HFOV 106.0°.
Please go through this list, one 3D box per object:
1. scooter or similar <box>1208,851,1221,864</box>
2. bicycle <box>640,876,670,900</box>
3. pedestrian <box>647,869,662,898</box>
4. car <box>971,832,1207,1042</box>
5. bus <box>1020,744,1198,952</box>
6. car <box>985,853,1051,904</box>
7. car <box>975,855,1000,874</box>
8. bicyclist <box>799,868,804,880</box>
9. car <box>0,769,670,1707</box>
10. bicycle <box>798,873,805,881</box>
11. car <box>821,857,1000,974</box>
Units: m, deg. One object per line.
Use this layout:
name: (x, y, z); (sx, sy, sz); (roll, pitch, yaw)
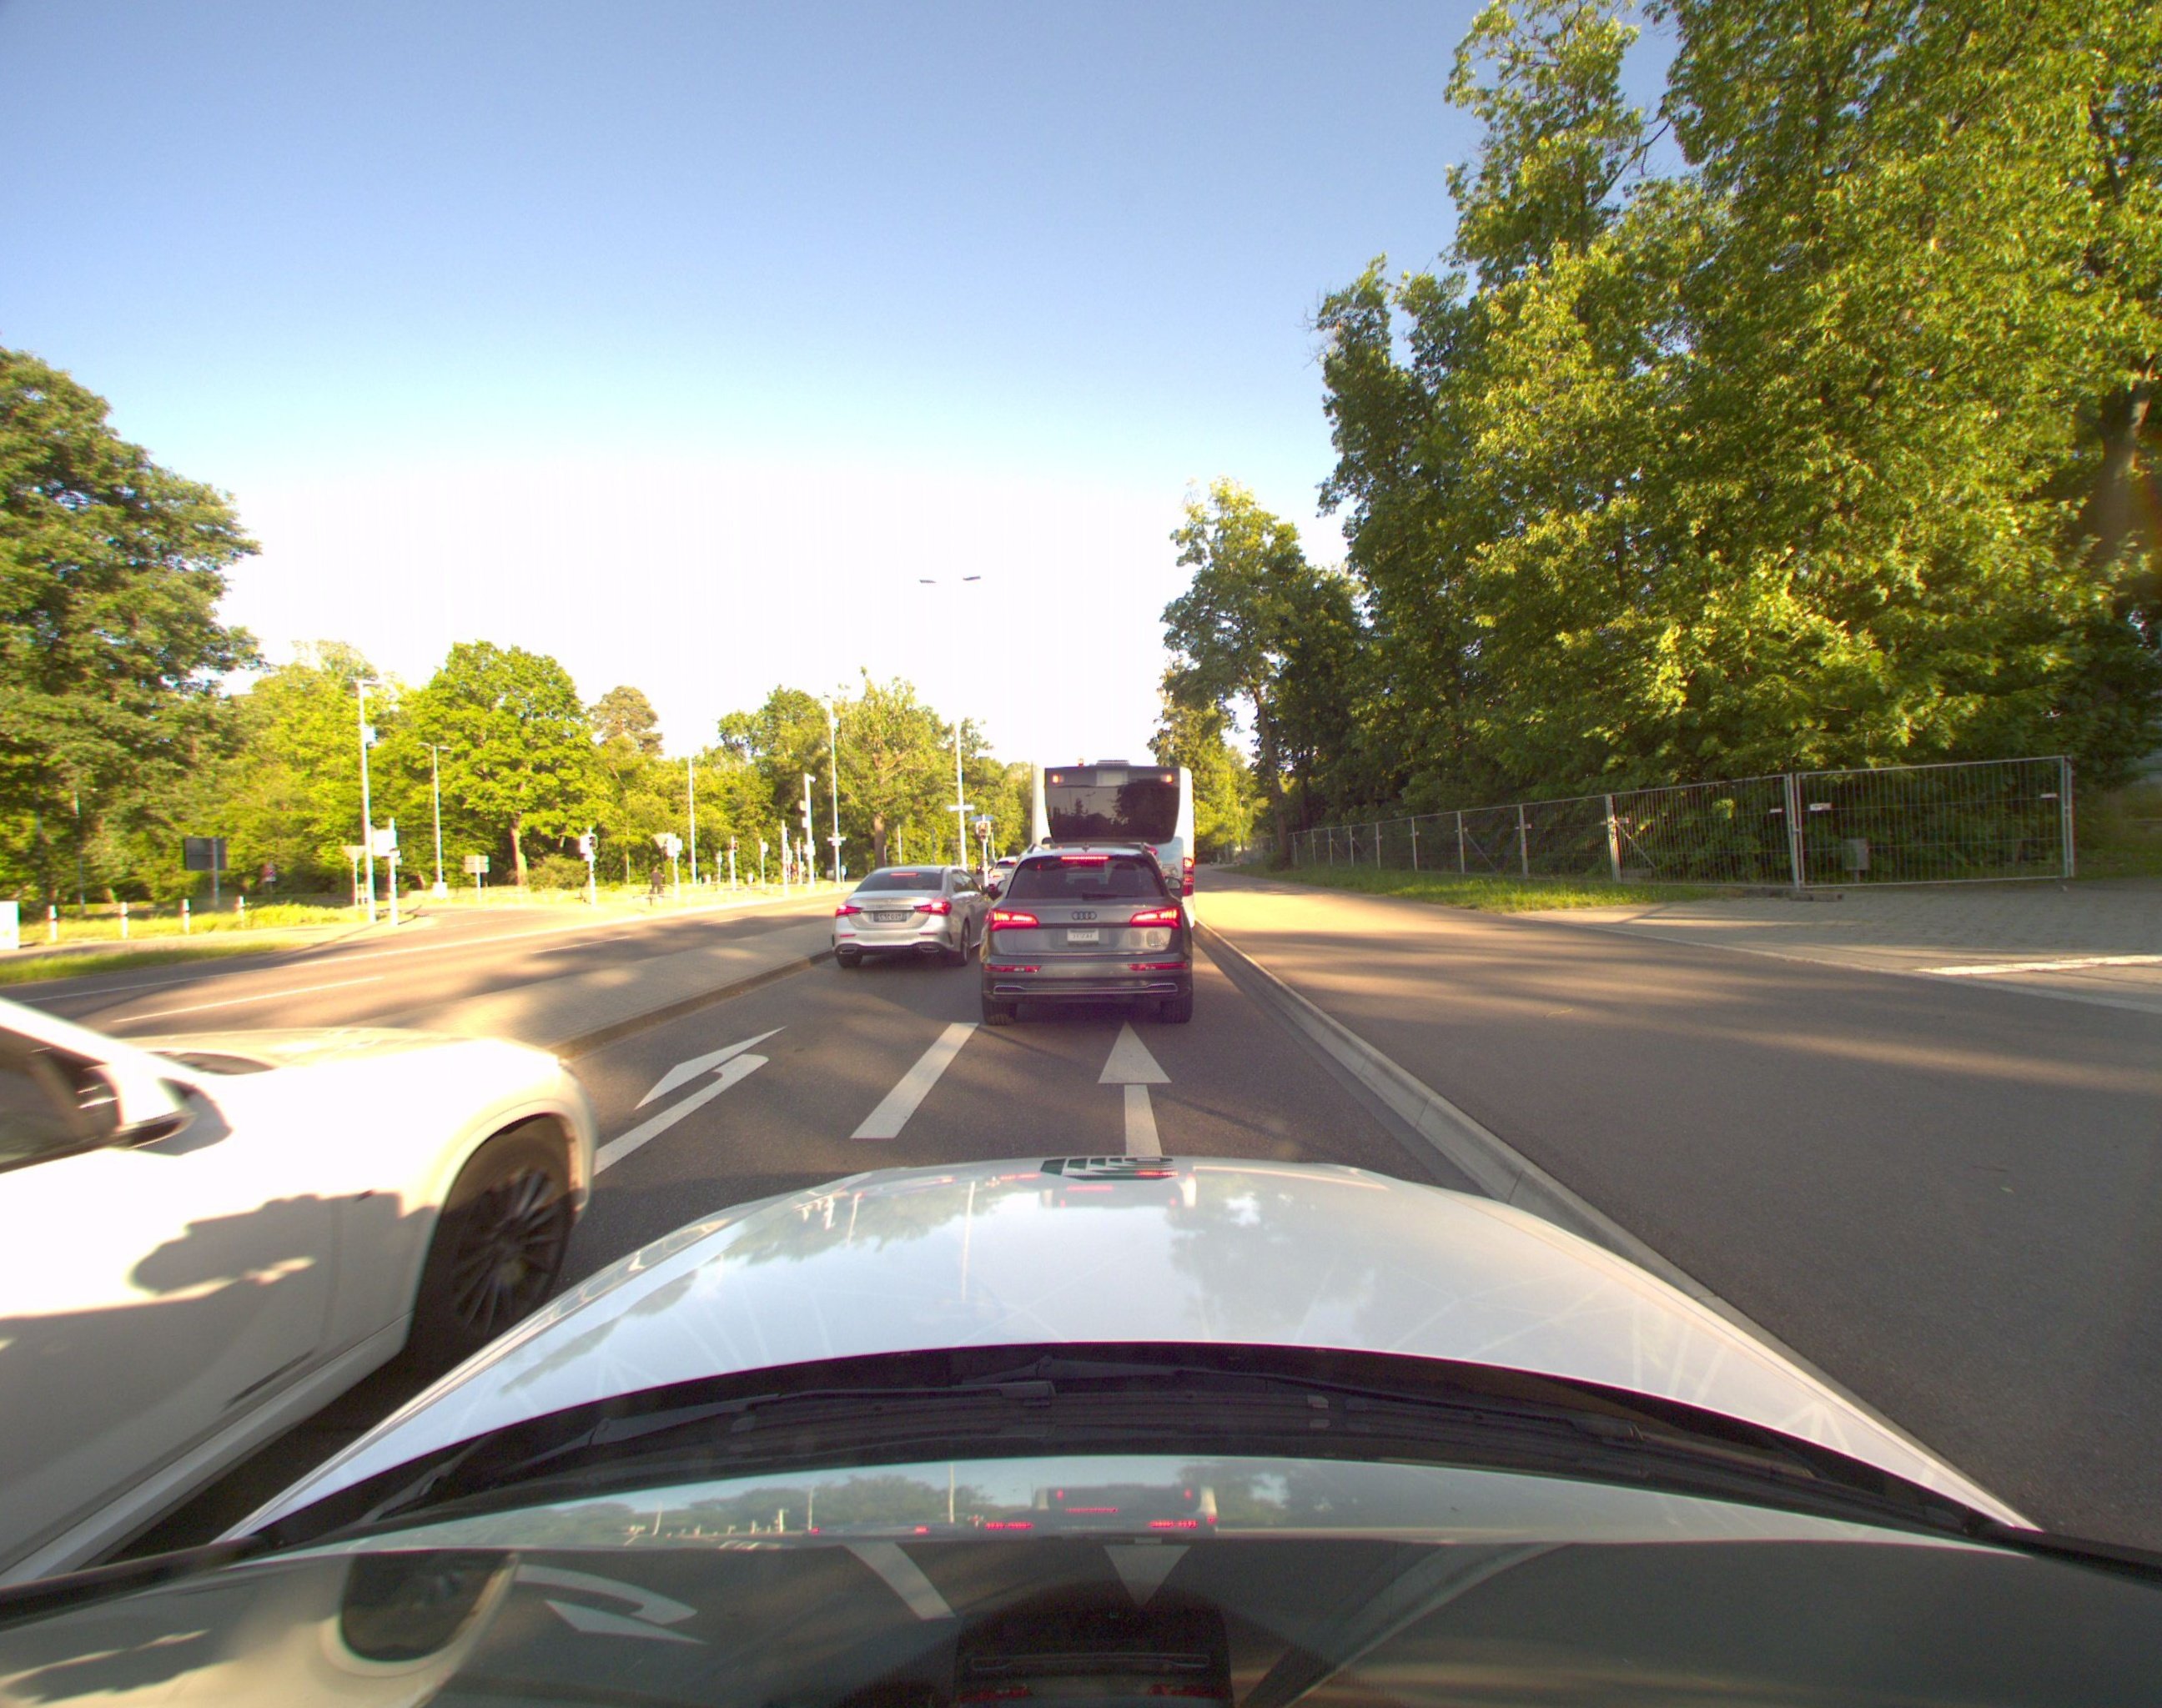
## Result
scooter or similar: (12.765, 0.326, 77.830); (1.175, 1.174, 0.661); (0, 0, 13)
bicycle: (-22.691, 1.807, 43.428); (0.466, 1.178, 2.005); (0, -1, 2)
pedestrian: (-22.706, 1.570, 43.361); (0.480, 1.562, 0.649); (0, -1, 2)
car: (0.124, 0.642, 8.475); (1.861, 1.663, 4.002); (0, 1, 2)
bus: (0.578, -0.113, 15.260); (2.667, 3.142, 5.887); (0, 0, 3)
car: (-2.062, 0.762, 27.711); (1.801, 1.572, 4.002); (0, 1, 2)
car: (-8.682, 0.946, 75.852); (1.990, 1.662, 3.995); (-3, 0, -4)
bicyclist: (-22.253, 1.560, 64.860); (0.273, 0.963, 0.240); (0, -1, -5)
car: (-2.618, 0.656, 1.096); (1.712, 1.581, 4.436); (0, -1, 3)
bicycle: (-22.249, 1.835, 64.827); (0.266, 0.581, 0.838); (0, -1, -4)
car: (-2.423, 0.802, 12.683); (1.778, 1.444, 4.279); (0, 1, 1)
